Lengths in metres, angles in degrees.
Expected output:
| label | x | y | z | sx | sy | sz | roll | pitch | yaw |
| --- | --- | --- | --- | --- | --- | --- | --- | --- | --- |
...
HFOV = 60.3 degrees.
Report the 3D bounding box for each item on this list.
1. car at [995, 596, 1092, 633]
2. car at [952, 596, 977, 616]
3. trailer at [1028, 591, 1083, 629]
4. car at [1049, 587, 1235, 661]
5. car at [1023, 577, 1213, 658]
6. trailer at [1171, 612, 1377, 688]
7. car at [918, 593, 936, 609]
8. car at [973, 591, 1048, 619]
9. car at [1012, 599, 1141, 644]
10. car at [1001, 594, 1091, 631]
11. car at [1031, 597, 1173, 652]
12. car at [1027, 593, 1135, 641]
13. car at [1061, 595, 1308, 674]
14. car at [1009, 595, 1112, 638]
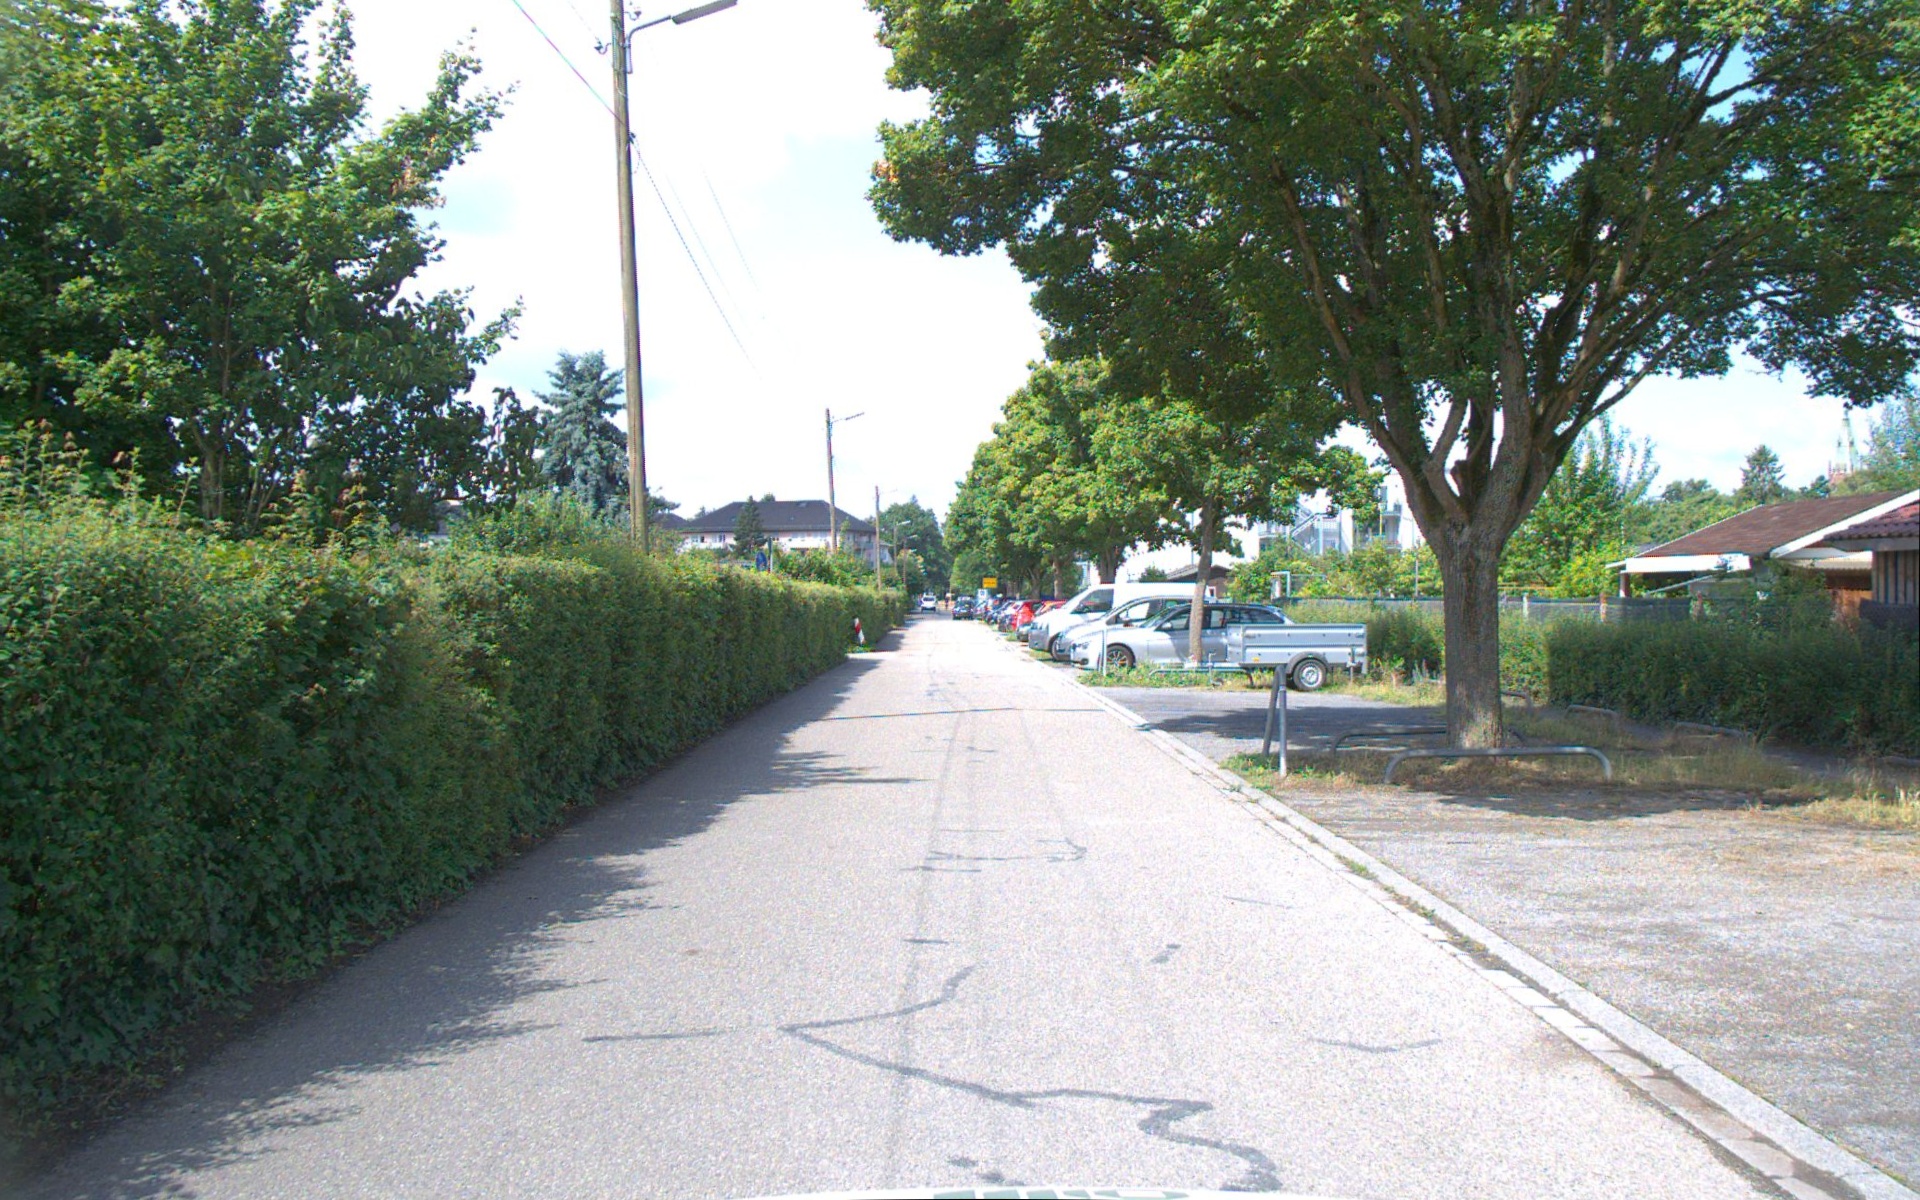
| label | x | y | z | sx | sy | sz | roll | pitch | yaw |
| --- | --- | --- | --- | --- | --- | --- | --- | --- | --- |
| car | 3.561 | 0.615 | 71.138 | 3.984 | 1.481 | 1.869 | 1 | 0 | -3 |
| car | 0.384 | 0.465 | 126.450 | 1.628 | 1.532 | 4.002 | 1 | 0 | 4 |
| trailer | 4.563 | 0.459 | 78.956 | 2.402 | 1.750 | 1.517 | 1 | 1 | -5 |
| car | 4.273 | 0.555 | 39.327 | 4.157 | 1.620 | 2.000 | -1 | 0 | -1 |
| car | 3.971 | 0.428 | 42.067 | 4.541 | 1.919 | 2.110 | -1 | 0 | -3 |
| trailer | 5.193 | 0.817 | 27.651 | 3.037 | 1.162 | 2.000 | 1 | 0 | -1 |
| car | -3.850 | 0.147 | 194.750 | 1.863 | 1.846 | 4.001 | 1 | 0 | 2 |
| car | 3.084 | 0.296 | 101.648 | 4.457 | 1.606 | 1.808 | 1 | 0 | -2 |
| car | 3.983 | 0.736 | 56.938 | 4.155 | 1.453 | 1.906 | 1 | 0 | -5 |
| car | 3.867 | 0.564 | 74.750 | 3.980 | 1.538 | 1.958 | 1 | 0 | 2 |
| car | 4.243 | 0.740 | 49.864 | 4.097 | 1.530 | 1.878 | 1 | 0 | 0 |
| car | 4.330 | 0.615 | 59.668 | 3.688 | 1.601 | 1.869 | 1 | 0 | -1 |
| car | 4.333 | 0.652 | 32.371 | 4.487 | 1.491 | 1.998 | 0 | 0 | -4 |
| car | 3.900 | 0.648 | 64.462 | 3.904 | 1.546 | 1.855 | 1 | 0 | 3 |
